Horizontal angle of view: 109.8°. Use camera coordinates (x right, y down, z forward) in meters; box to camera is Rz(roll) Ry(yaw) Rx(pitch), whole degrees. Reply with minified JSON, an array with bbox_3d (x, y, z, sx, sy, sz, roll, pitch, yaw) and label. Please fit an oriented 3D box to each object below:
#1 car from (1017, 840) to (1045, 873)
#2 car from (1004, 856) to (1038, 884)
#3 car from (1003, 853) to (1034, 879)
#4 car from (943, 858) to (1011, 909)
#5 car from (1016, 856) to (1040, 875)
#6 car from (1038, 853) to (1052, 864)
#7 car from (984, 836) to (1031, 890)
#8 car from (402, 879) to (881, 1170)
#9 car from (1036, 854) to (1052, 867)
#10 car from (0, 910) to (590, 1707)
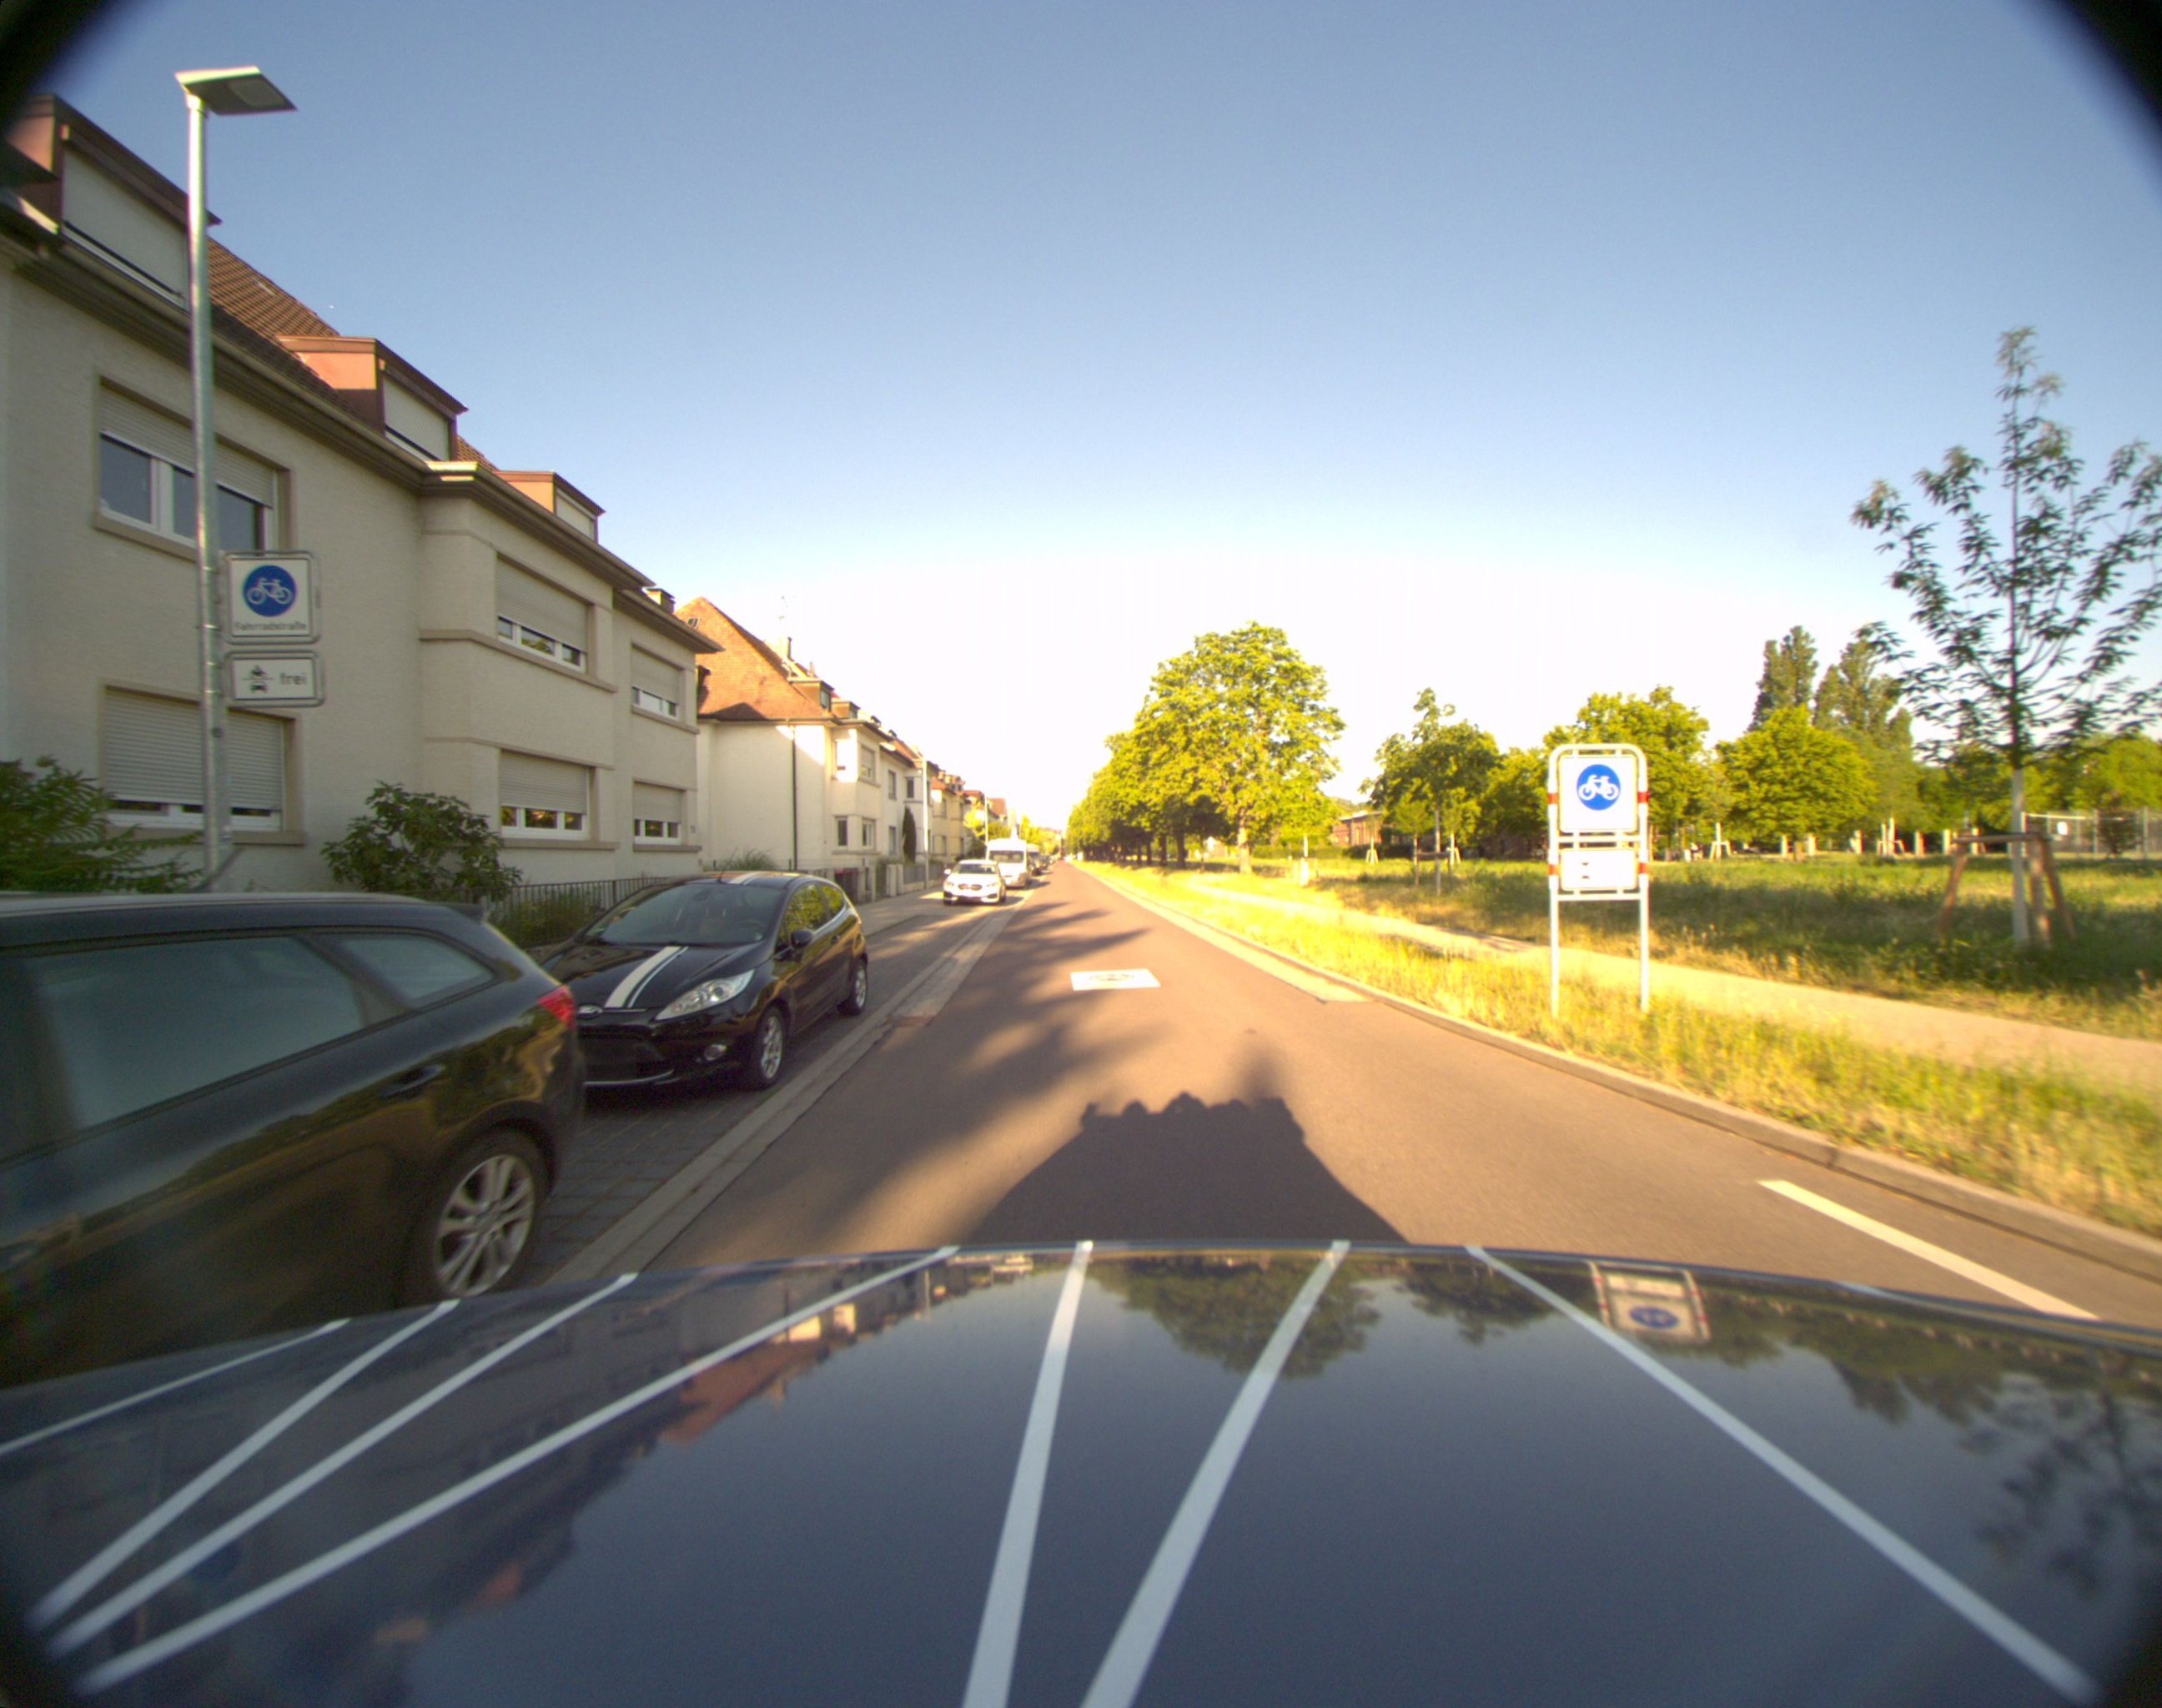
[{"bbox_3d":[-4.477,0.204,68.986,2.135,2.837,5.986,-2,0,-1],"label":"car"},{"bbox_3d":[-3.455,0.911,44.213,1.626,1.474,4.107,-2,0,0],"label":"car"},{"bbox_3d":[-4.002,0.750,49.416,1.782,1.635,4.479,0,0,-2],"label":"car"},{"bbox_3d":[-3.372,0.906,25.336,1.787,1.498,4.232,2,0,-2],"label":"car"},{"bbox_3d":[-4.355,0.902,62.482,1.630,1.431,4.004,-2,1,0],"label":"car"},{"bbox_3d":[-5.420,0.732,114.833,1.974,1.630,3.999,1,0,-1],"label":"car"},{"bbox_3d":[-3.615,0.420,38.202,2.135,2.503,5.506,0,0,-3],"label":"car"},{"bbox_3d":[-2.976,1.030,6.244,1.723,1.463,3.982,1,0,-2],"label":"car"},{"bbox_3d":[-4.618,0.795,95.302,1.974,1.630,3.999,1,0,-1],"label":"car"},{"bbox_3d":[-2.837,0.980,0.985,1.751,1.466,4.254,1,0,-2],"label":"car"}]
